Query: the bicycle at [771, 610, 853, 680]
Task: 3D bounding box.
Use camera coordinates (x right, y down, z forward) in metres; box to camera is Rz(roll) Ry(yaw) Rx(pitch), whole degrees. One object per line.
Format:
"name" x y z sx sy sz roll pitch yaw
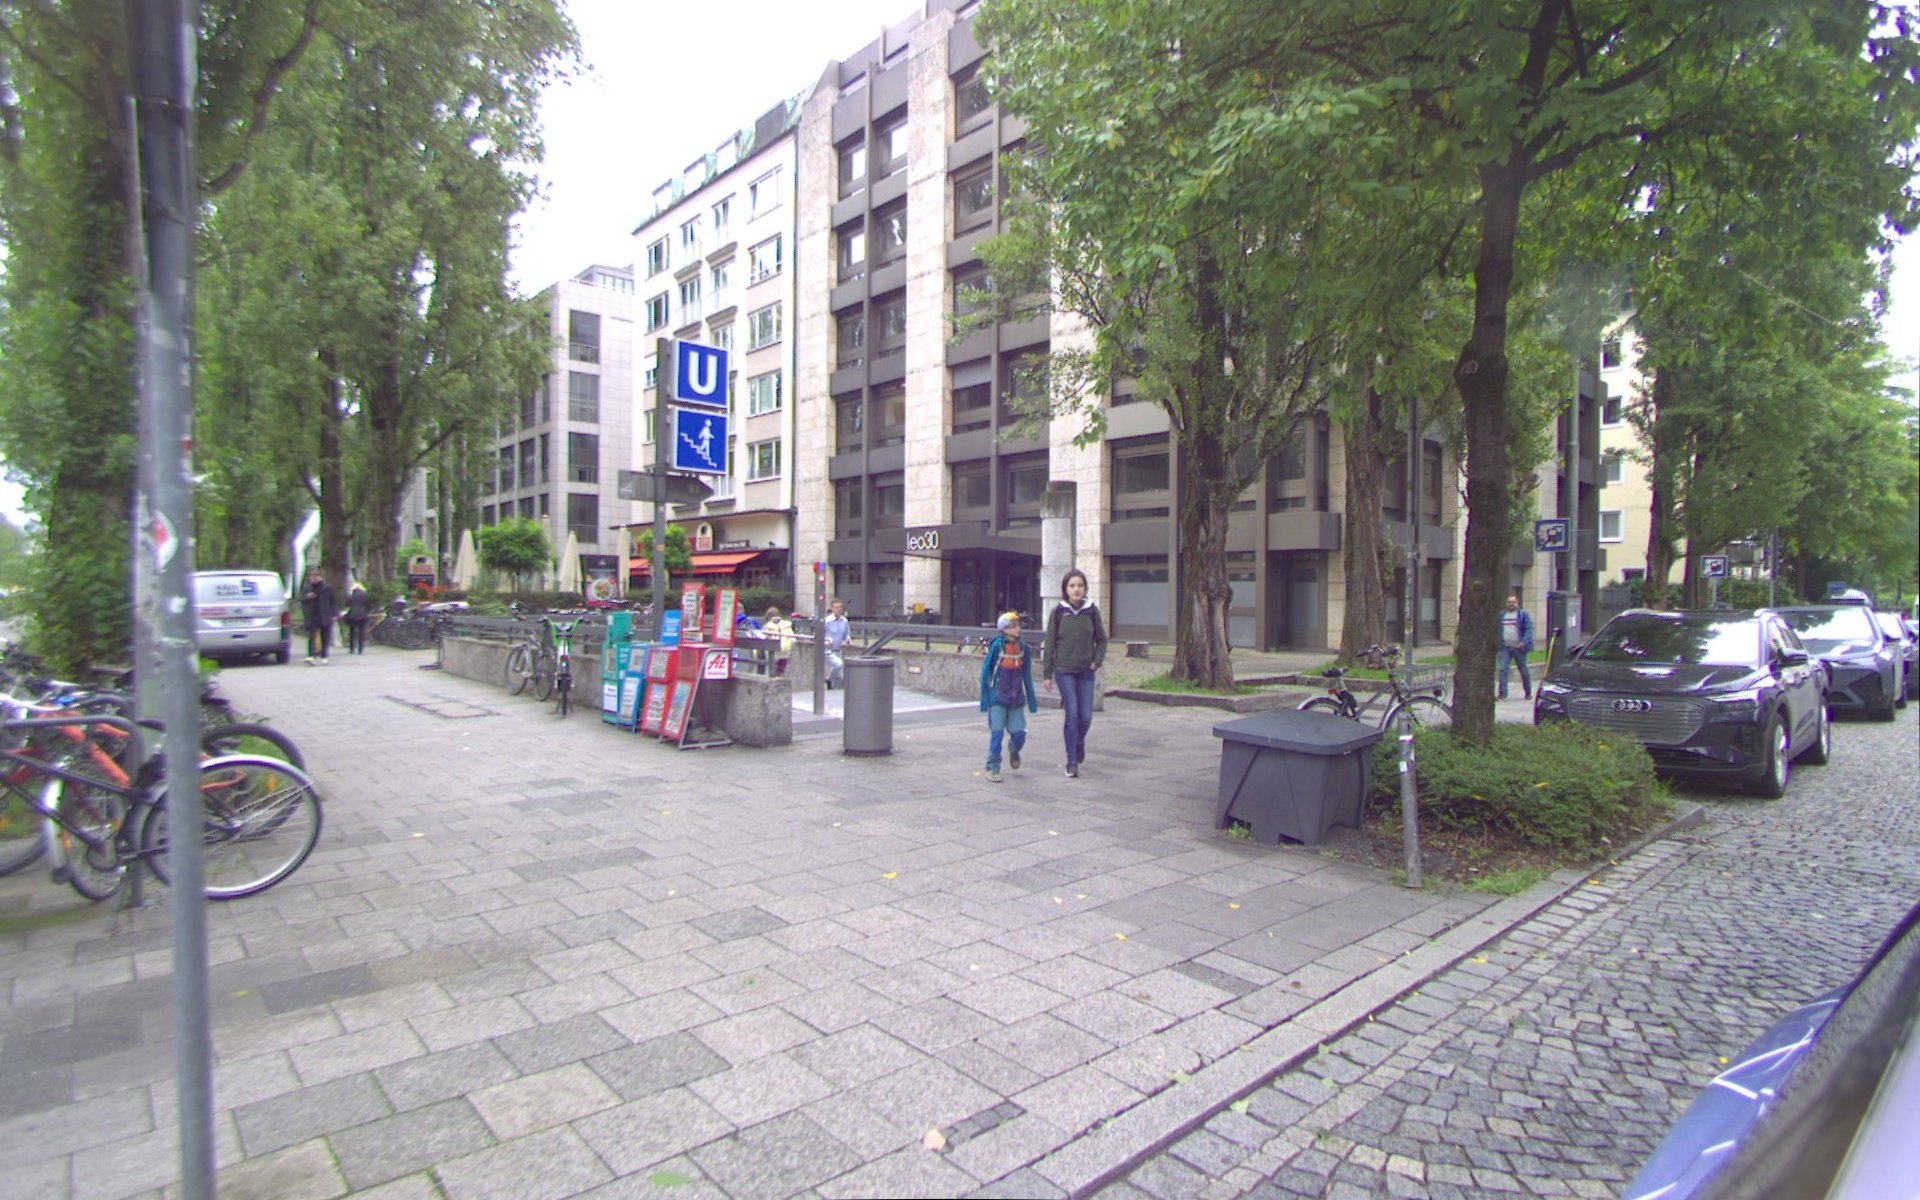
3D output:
"bicycle" -2.706 0.788 18.374 0.577 1.174 1.867 1 0 -40

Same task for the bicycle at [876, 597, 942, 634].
"bicycle" -1.646 0.489 32.949 2.207 1.170 0.647 0 0 -42

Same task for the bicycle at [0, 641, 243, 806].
"bicycle" -6.292 0.861 7.317 1.799 1.051 0.513 0 1 -37

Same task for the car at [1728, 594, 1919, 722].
"car" 13.788 0.790 15.950 4.595 1.722 2.014 0 0 -44

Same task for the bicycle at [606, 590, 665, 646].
"bicycle" -7.228 0.379 22.489 0.577 1.174 1.867 1 0 -40

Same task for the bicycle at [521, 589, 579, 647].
"bicycle" -8.624 0.356 21.237 0.577 1.174 1.867 1 0 -40

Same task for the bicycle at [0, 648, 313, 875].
"bicycle" -4.698 0.853 5.595 1.843 1.063 0.475 -1 1 -40

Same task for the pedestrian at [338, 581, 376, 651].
"pedestrian" -14.256 0.368 23.908 0.685 1.626 0.833 1 0 -37

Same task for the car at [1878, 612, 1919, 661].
"car" 29.342 1.065 30.630 3.808 1.405 1.995 0 -1 -43

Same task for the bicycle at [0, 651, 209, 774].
"bicycle" -6.877 0.849 7.749 1.799 0.828 0.471 0 1 -37

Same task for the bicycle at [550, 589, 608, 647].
"bicycle" -8.166 0.358 21.652 0.577 1.174 1.867 1 0 -40

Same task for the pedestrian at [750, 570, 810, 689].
"pedestrian" -2.691 0.419 15.072 0.598 1.701 0.846 1 0 -32

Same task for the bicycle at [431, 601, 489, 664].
"bicycle" -10.057 0.629 20.333 0.577 1.174 1.982 1 0 -40

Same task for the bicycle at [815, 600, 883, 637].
"bicycle" -3.560 0.582 32.628 2.207 1.170 0.647 0 0 -42

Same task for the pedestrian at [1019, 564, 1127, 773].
"pedestrian" 0.972 0.564 8.800 0.650 1.722 0.692 1 0 -26

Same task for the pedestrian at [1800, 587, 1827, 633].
"pedestrian" 29.579 0.331 35.064 0.644 1.557 0.698 1 0 45

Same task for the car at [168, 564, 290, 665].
"car" -15.856 0.253 21.837 1.782 1.920 5.196 1 0 -40

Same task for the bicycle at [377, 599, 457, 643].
"bicycle" -14.937 0.570 27.853 1.836 1.174 0.587 1 0 -40

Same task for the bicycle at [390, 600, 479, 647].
"bicycle" -13.723 0.595 26.452 1.996 1.174 0.587 0 0 -40

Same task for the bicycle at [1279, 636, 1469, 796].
"bicycle" 3.418 0.891 8.278 1.840 1.151 0.476 1 0 -33

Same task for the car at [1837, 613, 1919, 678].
"car" 22.511 1.041 24.287 4.134 1.408 1.721 0 -2 -43

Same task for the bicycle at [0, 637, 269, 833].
"bicycle" -5.673 0.840 6.586 1.898 1.119 0.512 -1 1 -42

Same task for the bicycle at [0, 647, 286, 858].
"bicycle" -5.077 0.861 5.917 1.843 1.063 0.475 -1 1 -40

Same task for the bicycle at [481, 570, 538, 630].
"bicycle" -9.332 -0.009 20.924 0.577 1.174 1.867 1 0 -40

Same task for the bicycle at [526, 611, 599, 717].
"bicycle" -4.929 0.739 12.483 0.576 1.174 1.871 1 0 -29

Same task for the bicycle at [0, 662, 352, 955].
"bicycle" -3.737 0.861 4.374 0.474 1.064 1.847 1 1 43

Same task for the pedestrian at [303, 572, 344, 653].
"pedestrian" -14.779 0.285 23.504 0.736 1.826 0.843 1 0 -37

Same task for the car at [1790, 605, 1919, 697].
"car" 17.912 0.916 19.897 4.270 1.603 1.995 0 0 -44

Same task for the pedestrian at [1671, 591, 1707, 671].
"pedestrian" 15.353 0.647 21.314 0.558 1.649 0.489 1 0 -39

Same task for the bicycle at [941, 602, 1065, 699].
"bicycle" 0.592 0.686 14.651 0.709 1.293 1.867 1 0 -40

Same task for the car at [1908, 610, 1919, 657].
"car" 33.168 1.096 33.968 1.863 1.518 3.811 -1 -1 45

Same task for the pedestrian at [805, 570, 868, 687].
"pedestrian" -1.901 0.417 15.586 0.700 1.746 0.668 1 0 -42

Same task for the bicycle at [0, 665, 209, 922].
"bicycle" -4.474 0.861 4.449 1.843 1.064 0.475 1 0 -40

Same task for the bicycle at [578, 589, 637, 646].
"bicycle" -7.701 0.359 22.080 0.577 1.174 1.867 1 0 -40

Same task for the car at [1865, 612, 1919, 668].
"car" 25.830 1.055 27.443 3.502 1.449 1.602 1 -2 -43

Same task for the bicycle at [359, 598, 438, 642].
"bicycle" -15.581 0.552 28.126 1.836 1.174 0.587 1 0 -40

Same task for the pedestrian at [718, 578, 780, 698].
"pedestrian" -3.135 0.539 15.013 0.651 1.718 0.806 1 0 -32

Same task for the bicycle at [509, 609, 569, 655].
"bicycle" -11.419 0.848 27.437 1.857 1.174 0.580 1 0 35

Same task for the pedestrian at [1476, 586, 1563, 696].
"pedestrian" 9.181 0.648 16.611 0.893 1.735 0.871 1 0 -23

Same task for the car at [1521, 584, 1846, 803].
"car" 7.324 0.740 10.081 4.132 1.722 1.922 0 0 -44

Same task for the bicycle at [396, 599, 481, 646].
"bicycle" -13.341 0.562 25.921 1.836 1.174 0.587 0 0 -40

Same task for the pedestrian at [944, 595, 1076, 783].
"pedestrian" 0.400 0.686 8.308 0.801 1.437 0.772 1 0 -26

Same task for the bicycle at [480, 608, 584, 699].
"bicycle" -6.065 0.719 14.298 1.861 1.174 0.579 1 0 41

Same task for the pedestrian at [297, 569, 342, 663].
"pedestrian" -13.031 0.315 20.592 0.688 1.864 0.706 1 0 -39
